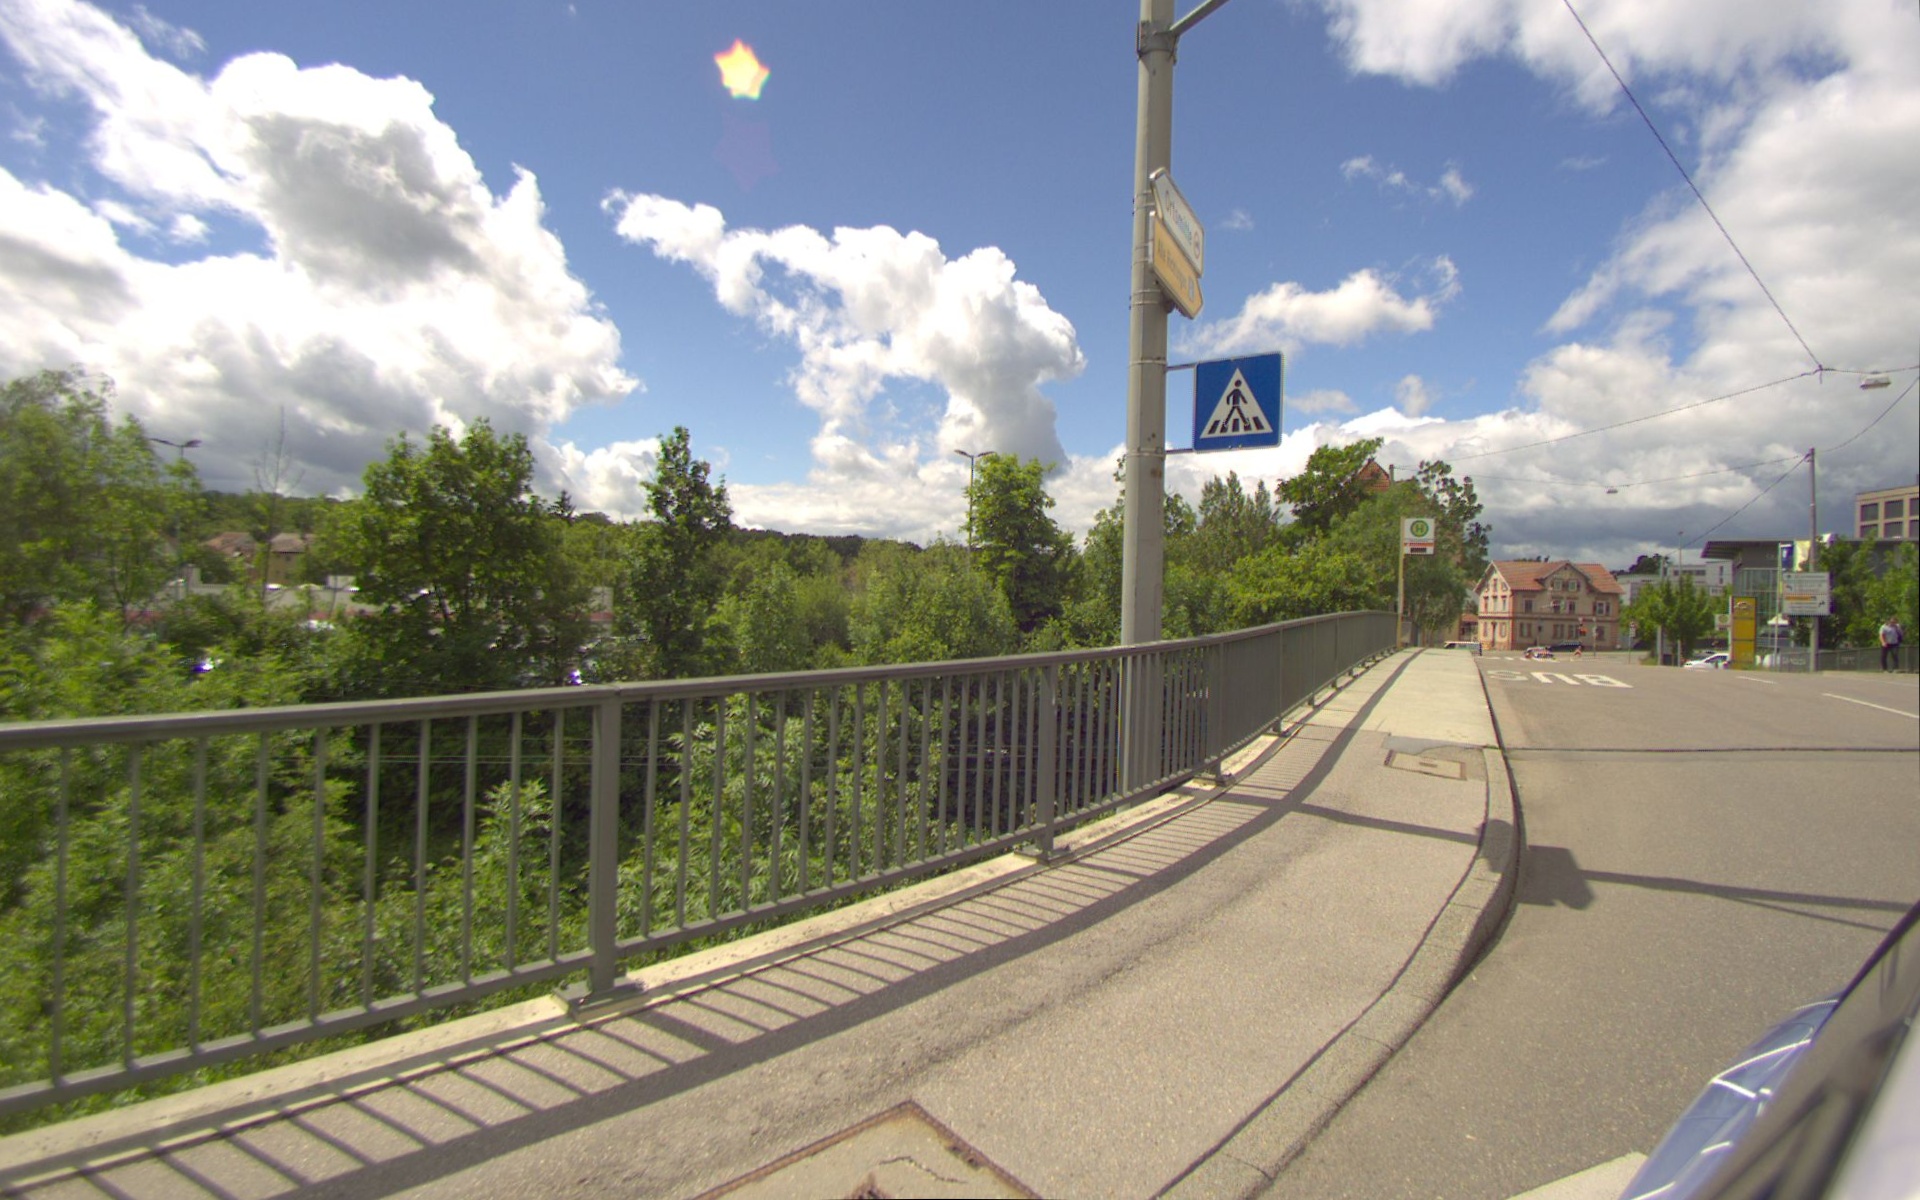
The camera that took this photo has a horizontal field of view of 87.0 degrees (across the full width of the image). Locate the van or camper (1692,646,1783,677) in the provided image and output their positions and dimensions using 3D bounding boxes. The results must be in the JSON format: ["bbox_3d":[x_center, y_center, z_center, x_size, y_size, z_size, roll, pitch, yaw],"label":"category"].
[{"bbox_3d":[52.057,4.101,67.845,4.650,1.772,1.975,2,-2,34],"label":"van or camper"}]

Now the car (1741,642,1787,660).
[{"bbox_3d":[71.914,4.540,90.606,2.995,1.391,1.501,2,-2,30],"label":"car"}]

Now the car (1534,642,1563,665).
[{"bbox_3d":[45.072,4.071,77.589,1.708,1.602,3.961,-1,-1,27],"label":"car"}]

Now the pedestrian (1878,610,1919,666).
[{"bbox_3d":[32.132,1.290,34.497,0.990,1.861,1.026,0,-3,28],"label":"pedestrian"}]

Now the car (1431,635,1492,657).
[{"bbox_3d":[48.644,4.414,98.226,4.897,2.019,1.998,-1,-2,2],"label":"car"}]

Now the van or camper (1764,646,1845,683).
[{"bbox_3d":[49.265,3.773,59.037,4.858,1.989,1.992,3,-2,-29],"label":"van or camper"}]
